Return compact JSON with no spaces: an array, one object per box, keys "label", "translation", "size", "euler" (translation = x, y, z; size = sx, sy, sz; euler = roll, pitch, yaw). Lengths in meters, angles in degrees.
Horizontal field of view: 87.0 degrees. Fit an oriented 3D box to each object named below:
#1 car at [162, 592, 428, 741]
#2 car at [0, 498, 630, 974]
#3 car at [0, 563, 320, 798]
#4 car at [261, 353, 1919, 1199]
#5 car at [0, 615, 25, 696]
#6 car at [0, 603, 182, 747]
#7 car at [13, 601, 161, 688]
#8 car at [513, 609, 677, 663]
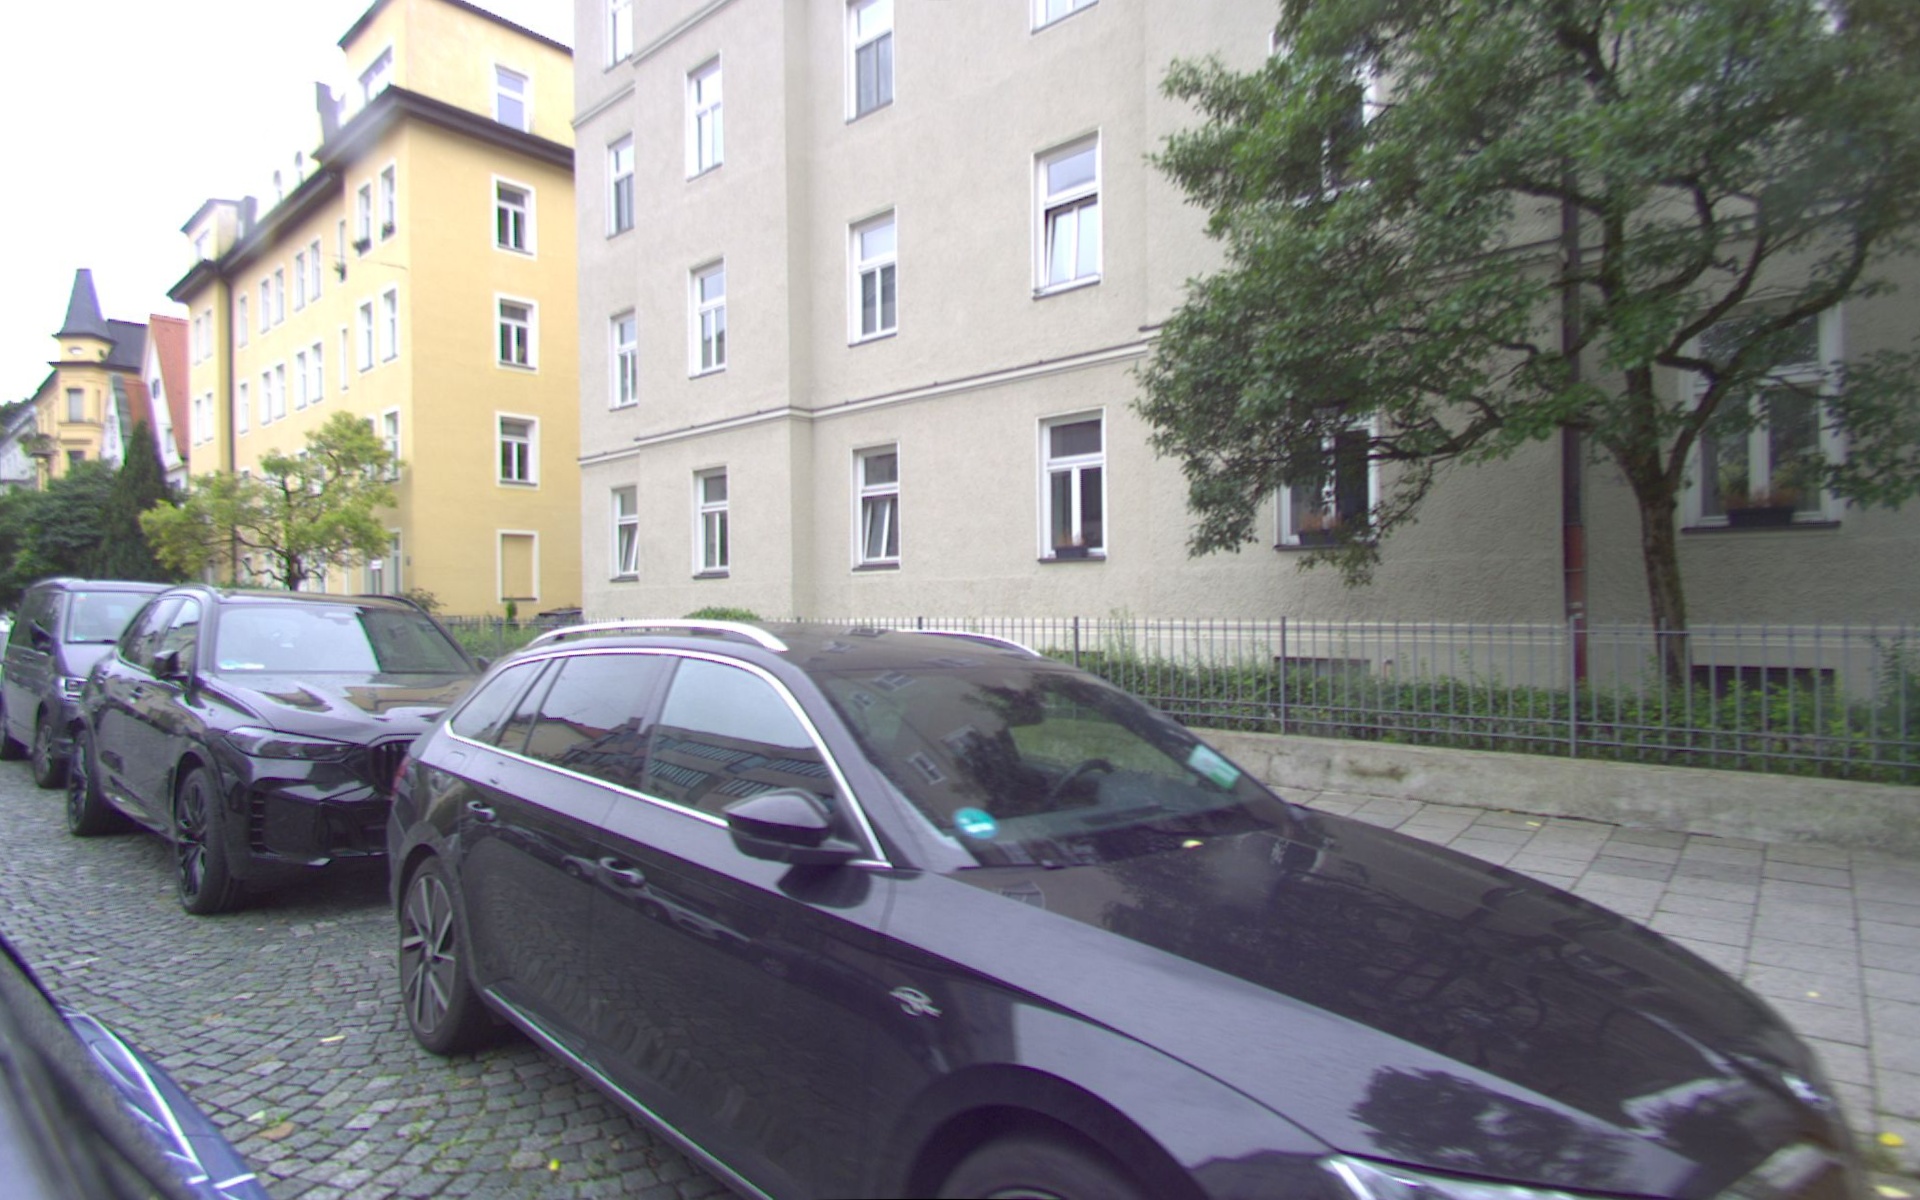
[{"label":"car","translation":[-9.726,0.858,14.650],"size":[4.654,1.748,1.925],"euler":[-2,2,40]},{"label":"car","translation":[-4.477,0.653,6.577],"size":[5.173,1.932,1.972],"euler":[-2,-4,40]},{"label":"car","translation":[-8.642,0.740,10.623],"size":[4.824,1.932,1.854],"euler":[-2,-3,40]},{"label":"car","translation":[-0.355,0.658,3.217],"size":[5.016,1.573,1.957],"euler":[-2,-3,42]},{"label":"car","translation":[-22.909,1.204,22.989],"size":[4.754,1.748,1.897],"euler":[-1,-5,42]},{"label":"car","translation":[-12.916,1.003,14.432],"size":[4.398,1.748,1.847],"euler":[-2,-4,39]},{"label":"car","translation":[-22.150,1.069,25.594],"size":[5.326,1.945,1.974],"euler":[-2,0,40]},{"label":"car","translation":[-10.314,0.980,28.828],"size":[1.833,1.434,4.025],"euler":[-1,-1,41]}]
